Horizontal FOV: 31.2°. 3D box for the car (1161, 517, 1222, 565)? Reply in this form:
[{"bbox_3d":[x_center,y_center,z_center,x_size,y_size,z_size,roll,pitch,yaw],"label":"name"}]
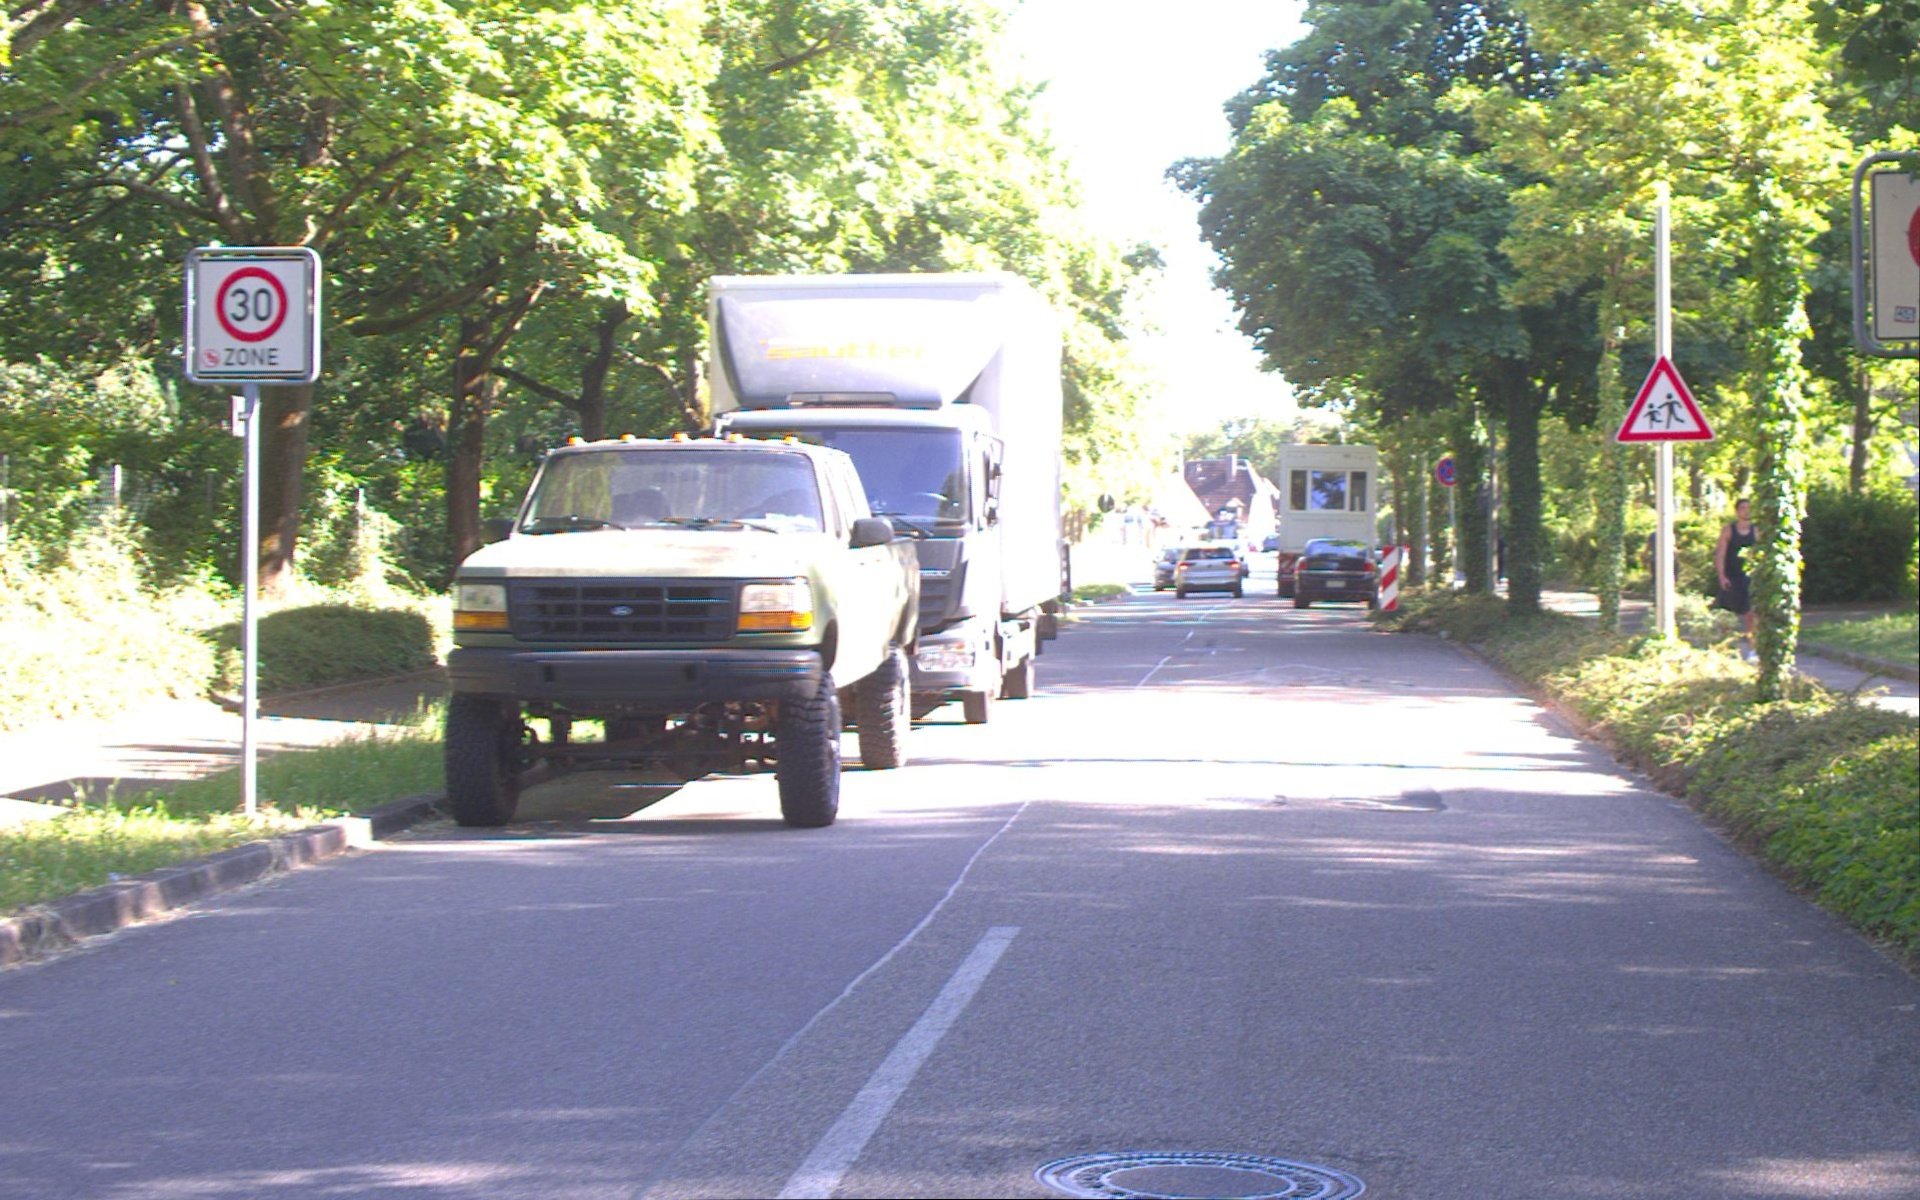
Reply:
[{"bbox_3d":[7.486,-1.904,111.037,1.794,1.505,3.999,1,1,6],"label":"car"}]

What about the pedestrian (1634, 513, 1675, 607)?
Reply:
[{"bbox_3d":[12.405,-0.715,61.398,0.648,1.655,0.650,1,1,7],"label":"pedestrian"}]

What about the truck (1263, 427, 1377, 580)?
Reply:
[{"bbox_3d":[9.801,-2.616,93.601,2.888,3.931,9.998,1,1,6],"label":"truck"}]

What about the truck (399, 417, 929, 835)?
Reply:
[{"bbox_3d":[-1.518,0.059,20.557,2.113,2.087,6.647,0,1,4],"label":"truck"}]

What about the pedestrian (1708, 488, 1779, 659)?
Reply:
[{"bbox_3d":[8.429,-0.287,36.990,0.648,1.814,0.650,1,1,6],"label":"pedestrian"}]

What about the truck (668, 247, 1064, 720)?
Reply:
[{"bbox_3d":[-0.610,-0.972,30.349,2.614,3.614,7.956,0,1,5],"label":"truck"}]

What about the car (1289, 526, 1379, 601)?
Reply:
[{"bbox_3d":[7.783,-0.769,71.631,1.794,1.505,3.999,1,1,6],"label":"car"}]

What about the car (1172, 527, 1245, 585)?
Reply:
[{"bbox_3d":[6.642,-1.187,91.568,1.794,1.505,3.999,1,1,6],"label":"car"}]
